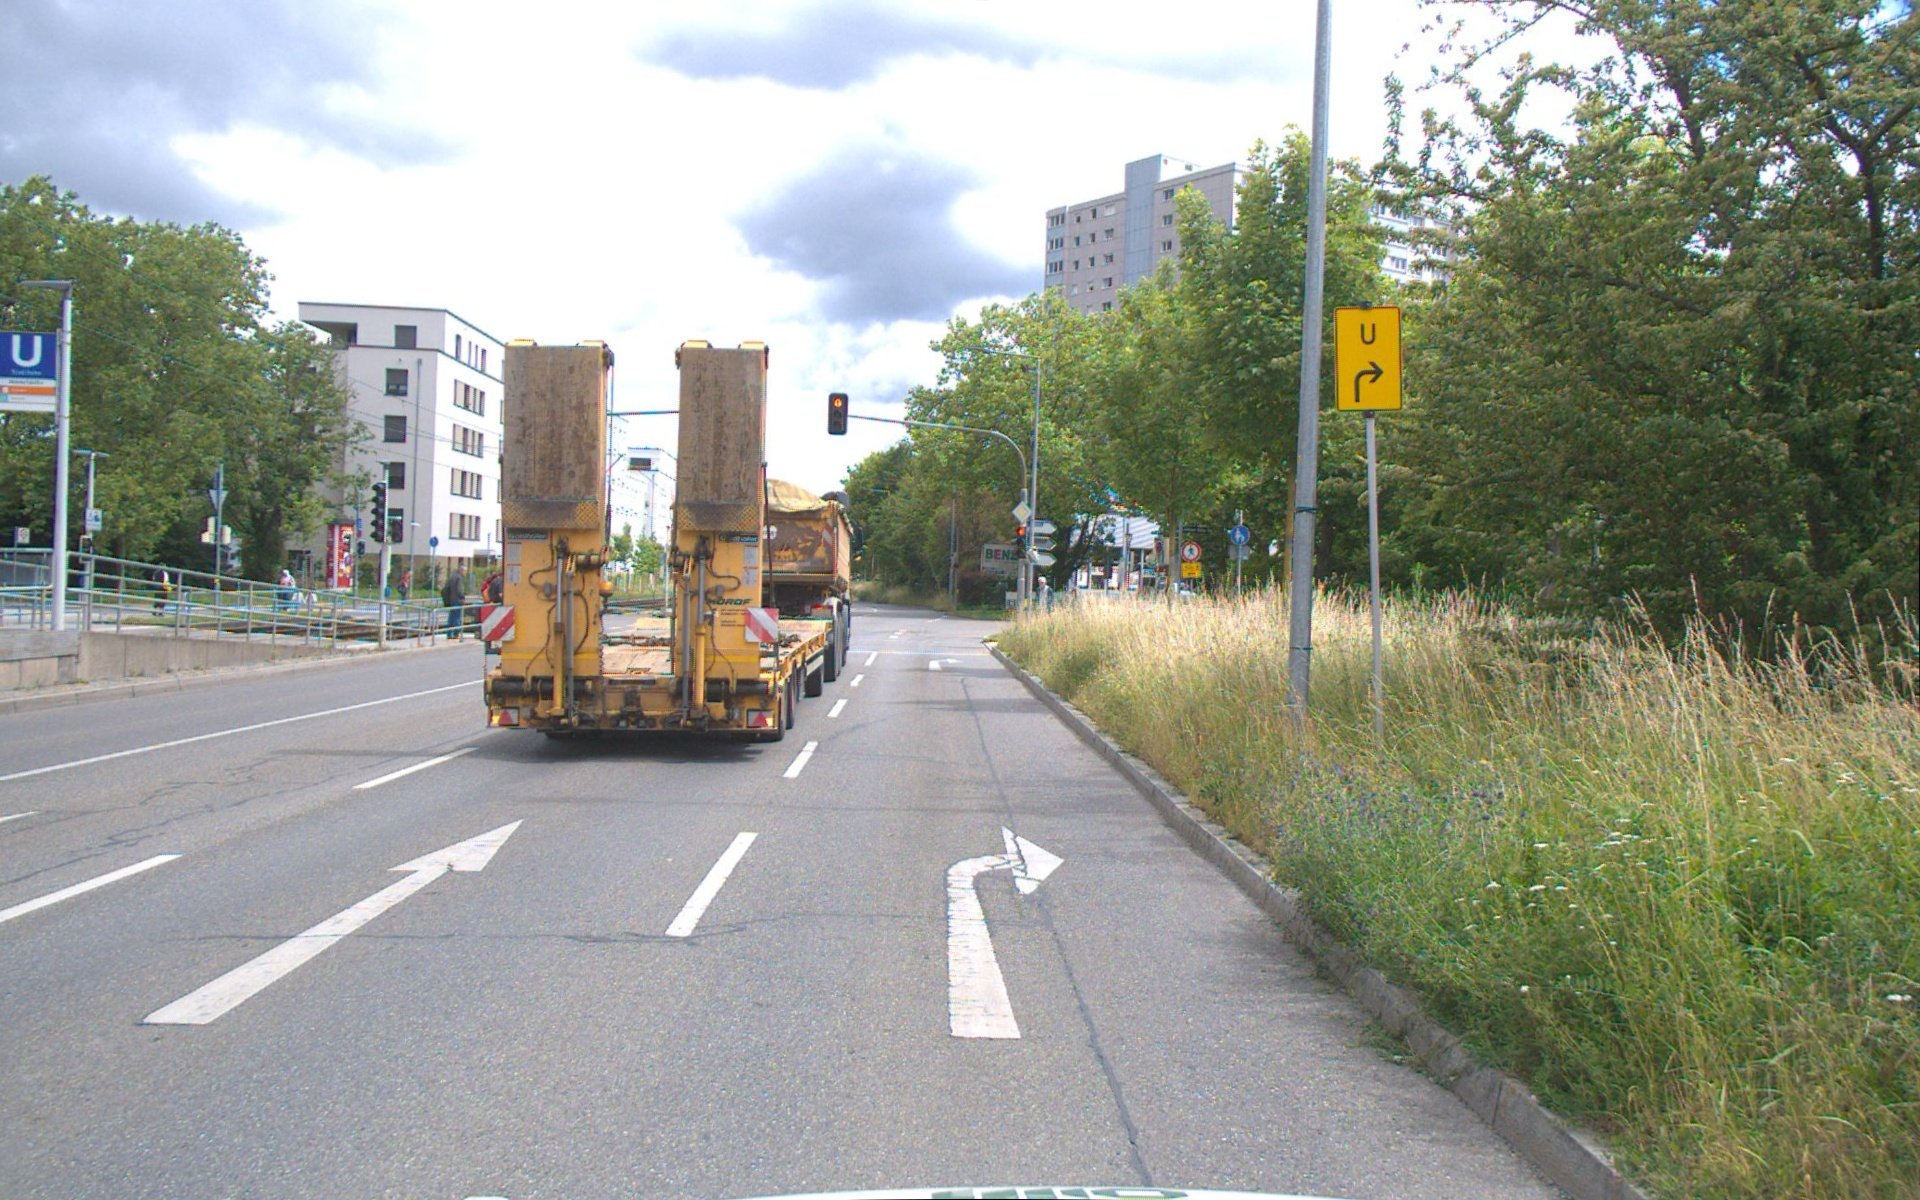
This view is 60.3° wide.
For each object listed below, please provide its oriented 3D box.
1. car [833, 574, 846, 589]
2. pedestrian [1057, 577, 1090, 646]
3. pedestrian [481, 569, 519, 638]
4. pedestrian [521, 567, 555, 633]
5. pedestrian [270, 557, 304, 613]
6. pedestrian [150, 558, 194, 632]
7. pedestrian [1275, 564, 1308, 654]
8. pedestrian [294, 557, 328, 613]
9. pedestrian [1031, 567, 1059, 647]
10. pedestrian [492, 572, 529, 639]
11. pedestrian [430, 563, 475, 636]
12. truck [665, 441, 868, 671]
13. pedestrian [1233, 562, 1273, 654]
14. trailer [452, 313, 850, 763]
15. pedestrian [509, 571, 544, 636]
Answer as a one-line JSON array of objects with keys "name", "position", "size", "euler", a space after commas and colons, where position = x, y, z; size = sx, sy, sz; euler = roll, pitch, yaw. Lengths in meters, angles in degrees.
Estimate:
[{"name": "car", "position": [-16.421, -2.535, 224.774], "size": [1.657, 1.959, 3.995], "euler": [2, 1, -6]}, {"name": "pedestrian", "position": [2.818, 0.289, 40.926], "size": [0.614, 1.682, 0.562], "euler": [2, 0, 25]}, {"name": "pedestrian", "position": [-11.218, 0.077, 40.370], "size": [0.668, 1.630, 0.823], "euler": [2, 1, -2]}, {"name": "pedestrian", "position": [-11.215, -0.009, 43.986], "size": [0.668, 1.699, 0.823], "euler": [2, 1, -2]}, {"name": "pedestrian", "position": [-26.623, -0.604, 65.451], "size": [0.896, 2.171, 0.935], "euler": [2, 0, -2]}, {"name": "pedestrian", "position": [-24.128, -0.156, 50.652], "size": [0.896, 2.243, 0.882], "euler": [2, 0, -2]}, {"name": "pedestrian", "position": [7.660, 0.198, 38.202], "size": [0.551, 2.049, 0.490], "euler": [2, 0, -11]}, {"name": "pedestrian", "position": [-25.670, -0.590, 65.436], "size": [0.896, 2.171, 0.935], "euler": [2, 0, -2]}, {"name": "pedestrian", "position": [2.201, 0.185, 42.869], "size": [0.551, 2.049, 0.490], "euler": [2, 0, -11]}, {"name": "pedestrian", "position": [-11.219, 0.137, 41.297], "size": [0.668, 1.630, 0.823], "euler": [2, 1, -2]}, {"name": "pedestrian", "position": [-12.035, -0.009, 39.220], "size": [0.803, 1.697, 0.683], "euler": [2, 0, -1]}, {"name": "truck", "position": [-3.140, -0.716, 29.071], "size": [2.698, 3.371, 8.349], "euler": [2, 1, -2]}, {"name": "pedestrian", "position": [6.660, 0.174, 37.565], "size": [0.659, 2.049, 0.633], "euler": [2, 0, -11]}, {"name": "trailer", "position": [-2.922, -0.589, 19.275], "size": [2.674, 3.620, 11.251], "euler": [2, 1, -1]}, {"name": "pedestrian", "position": [-11.253, 0.082, 42.984], "size": [0.668, 1.630, 0.823], "euler": [2, 1, -2]}]
